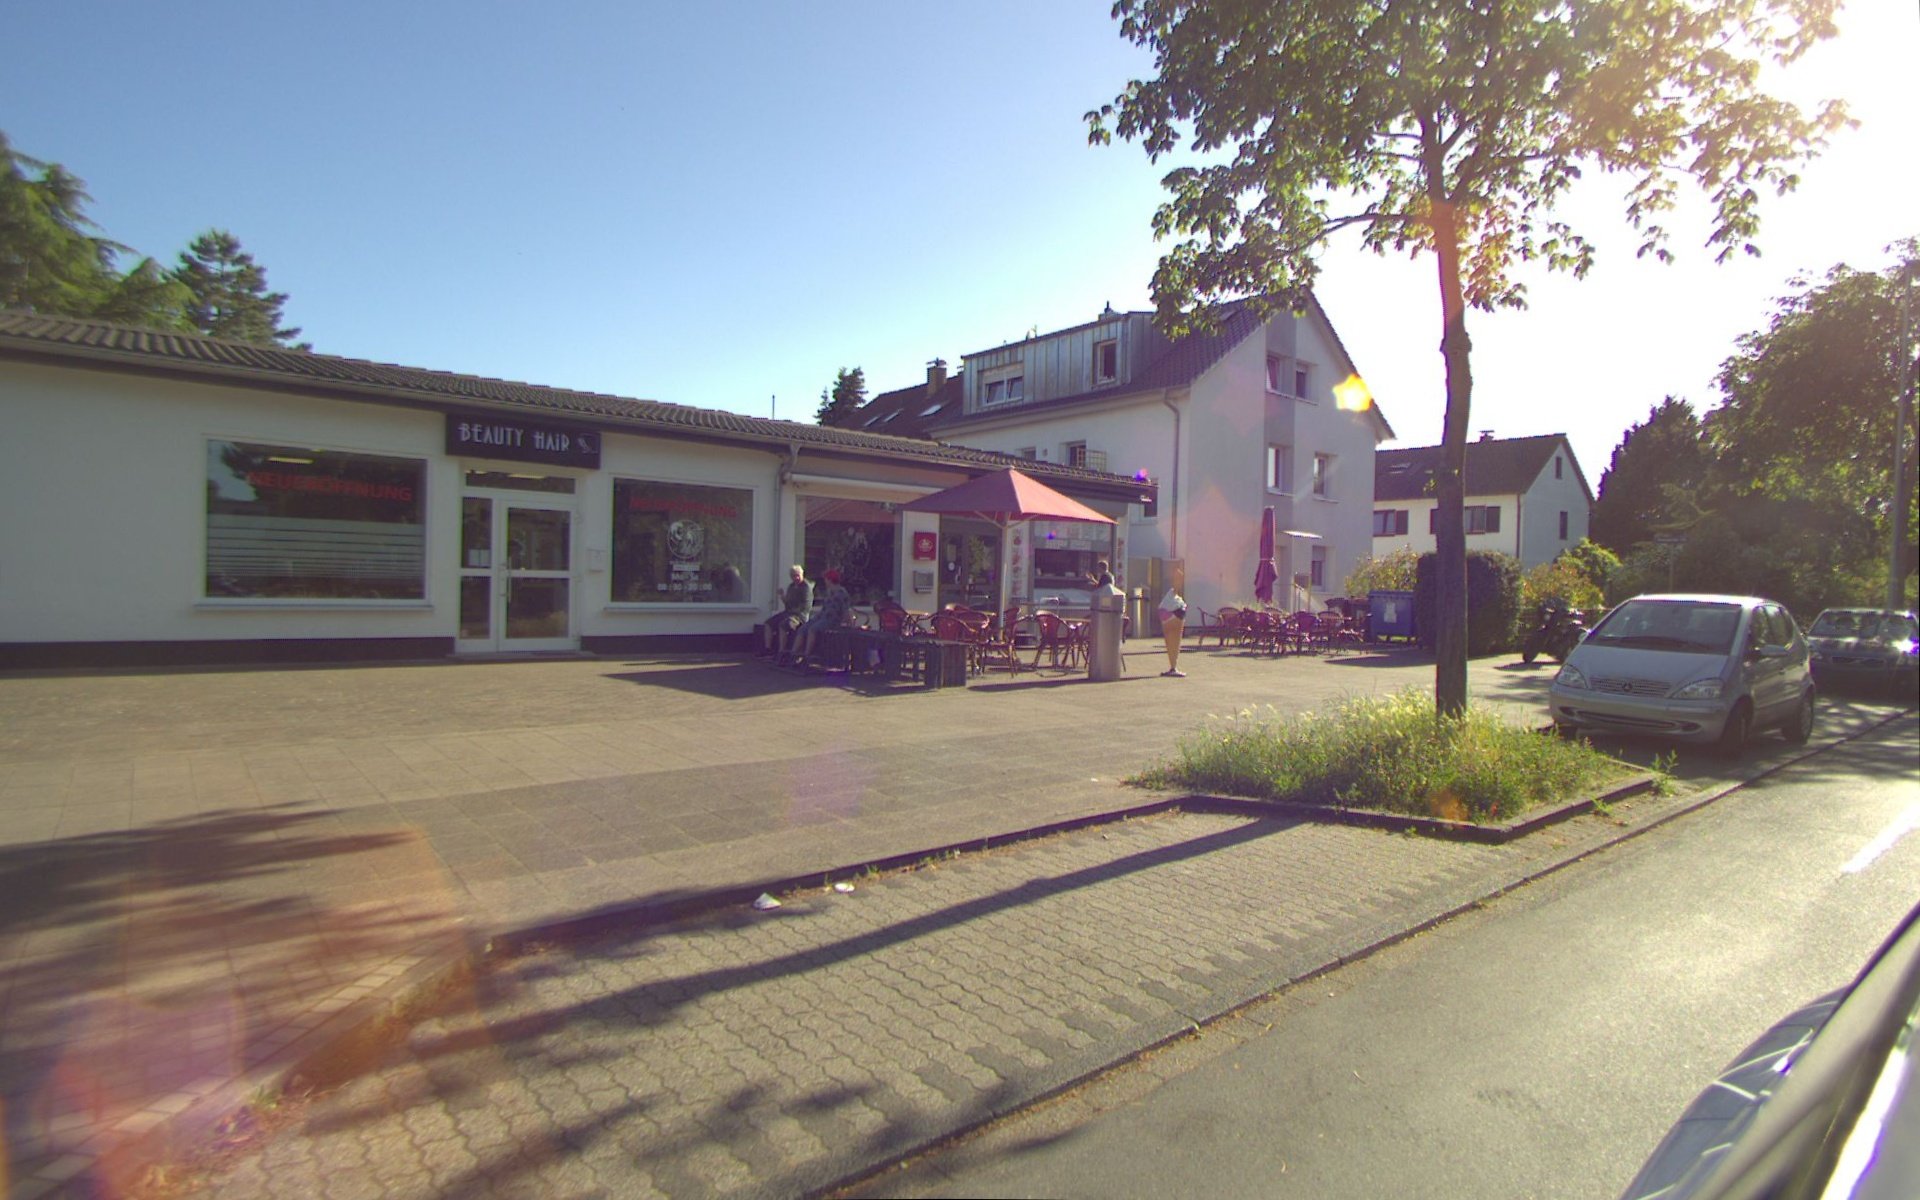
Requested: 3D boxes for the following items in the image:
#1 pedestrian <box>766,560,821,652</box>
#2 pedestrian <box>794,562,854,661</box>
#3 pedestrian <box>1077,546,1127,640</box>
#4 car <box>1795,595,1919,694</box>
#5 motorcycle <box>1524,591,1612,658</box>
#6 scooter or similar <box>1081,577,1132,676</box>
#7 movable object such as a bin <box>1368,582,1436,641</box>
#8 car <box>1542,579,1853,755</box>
[{"bbox_3d":[-2.498,0.080,15.153,0.564,1.339,0.641,0,1,-39],"label":"pedestrian"},{"bbox_3d":[-1.945,0.144,14.429,0.564,1.338,0.641,0,4,-39],"label":"pedestrian"},{"bbox_3d":[2.837,-0.146,20.244,0.722,1.831,0.672,0,0,-39],"label":"pedestrian"},{"bbox_3d":[15.975,0.712,17.485,3.789,1.500,1.732,1,1,-40],"label":"car"},{"bbox_3d":[12.163,0.453,20.214,2.304,1.270,0.837,-1,0,-41],"label":"motorcycle"},{"bbox_3d":[2.021,0.351,13.988,0.454,1.311,0.502,0,2,-43],"label":"scooter or similar"},{"bbox_3d":[10.471,0.254,23.984,0.912,1.310,1.171,0,2,-40],"label":"movable object such as a bin"},{"bbox_3d":[8.243,0.611,11.223,3.786,1.596,1.734,0,2,-37],"label":"car"}]
